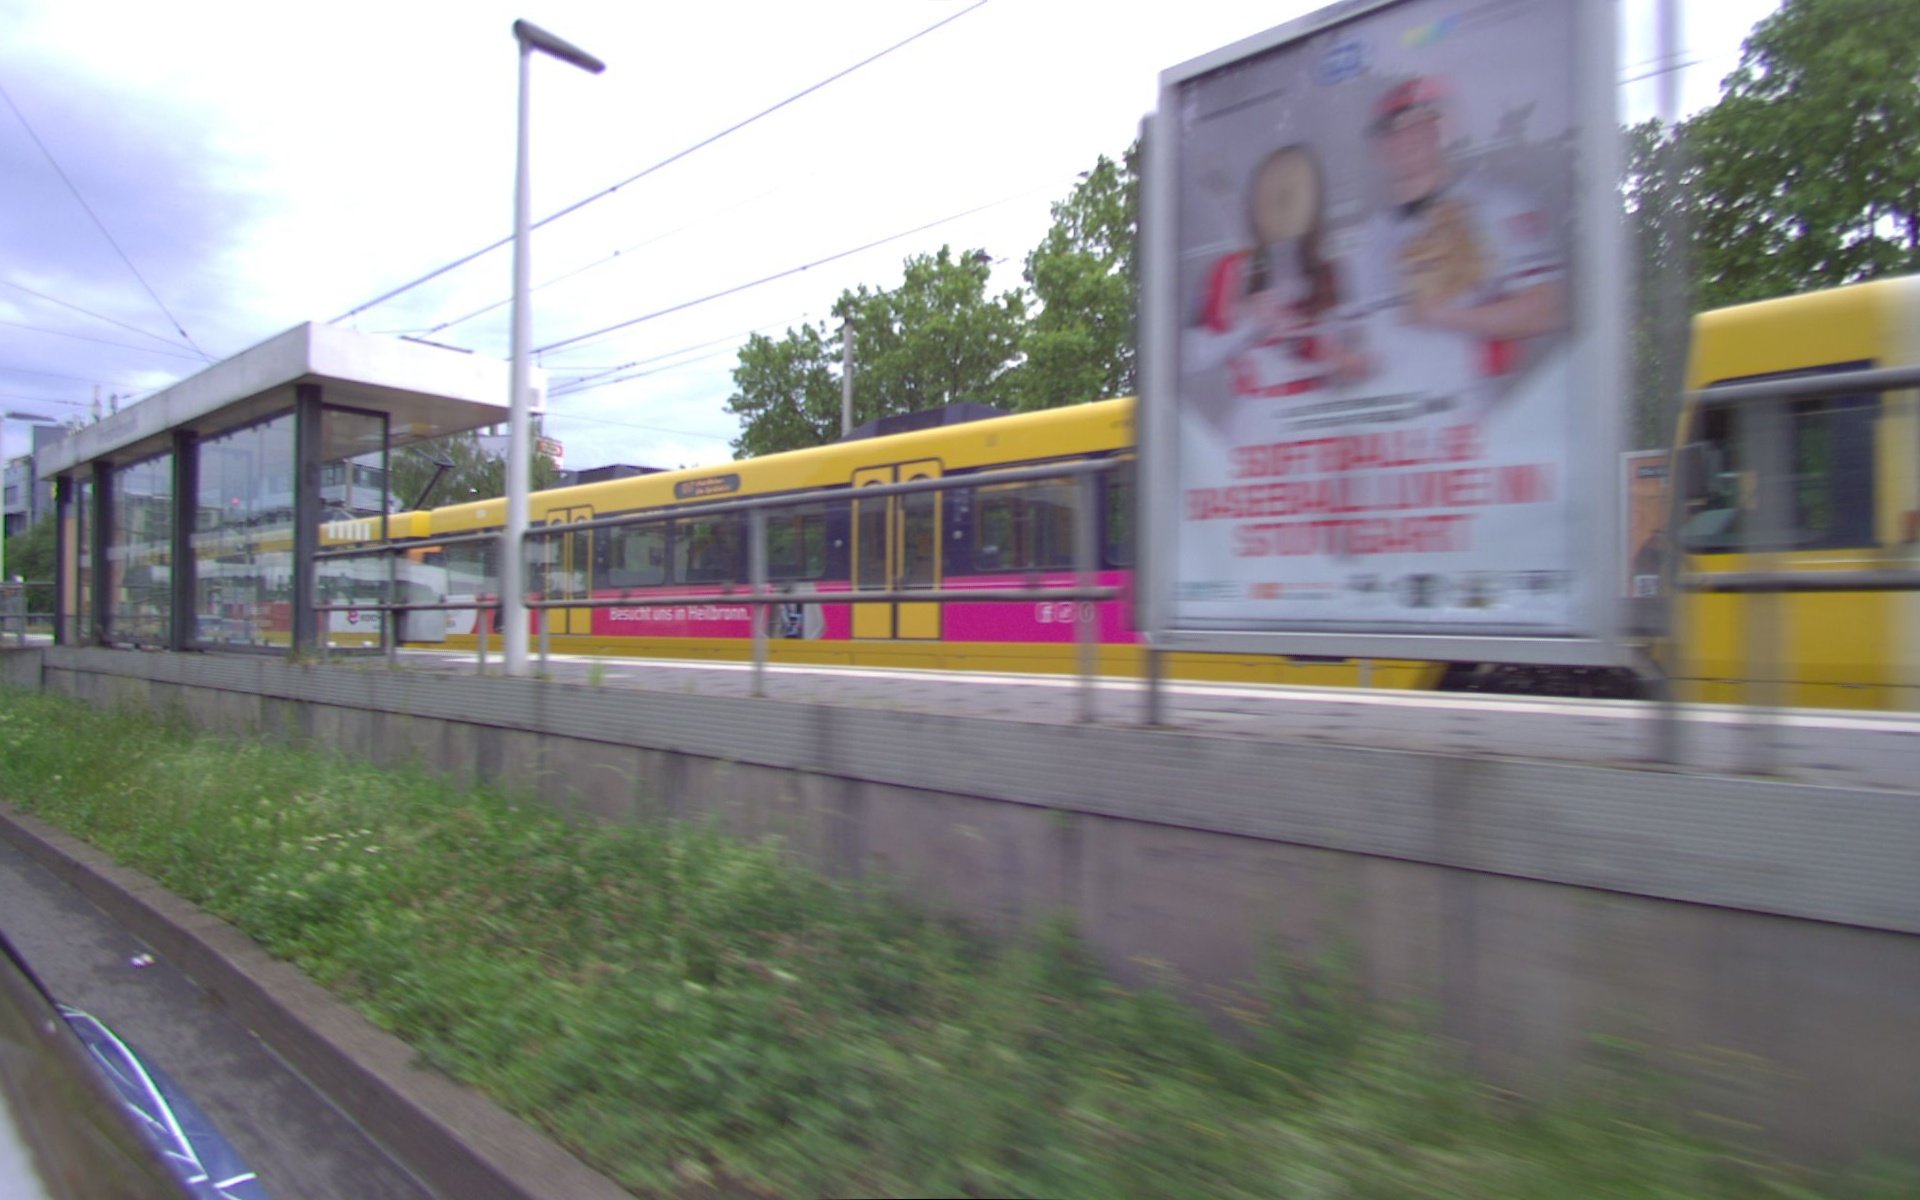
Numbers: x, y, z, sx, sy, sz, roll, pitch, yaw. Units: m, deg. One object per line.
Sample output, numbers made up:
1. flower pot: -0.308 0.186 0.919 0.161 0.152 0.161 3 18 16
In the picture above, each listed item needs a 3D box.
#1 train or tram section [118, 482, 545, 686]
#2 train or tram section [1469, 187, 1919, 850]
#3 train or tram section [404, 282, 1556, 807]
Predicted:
1. train or tram section: -17.679 -0.303 26.876 19.298 4.002 2.842 0 1 37
2. train or tram section: 12.040 -0.541 2.373 19.326 4.000 2.837 0 1 42
3. train or tram section: -2.533 -0.420 14.912 19.310 3.983 2.840 0 1 39
